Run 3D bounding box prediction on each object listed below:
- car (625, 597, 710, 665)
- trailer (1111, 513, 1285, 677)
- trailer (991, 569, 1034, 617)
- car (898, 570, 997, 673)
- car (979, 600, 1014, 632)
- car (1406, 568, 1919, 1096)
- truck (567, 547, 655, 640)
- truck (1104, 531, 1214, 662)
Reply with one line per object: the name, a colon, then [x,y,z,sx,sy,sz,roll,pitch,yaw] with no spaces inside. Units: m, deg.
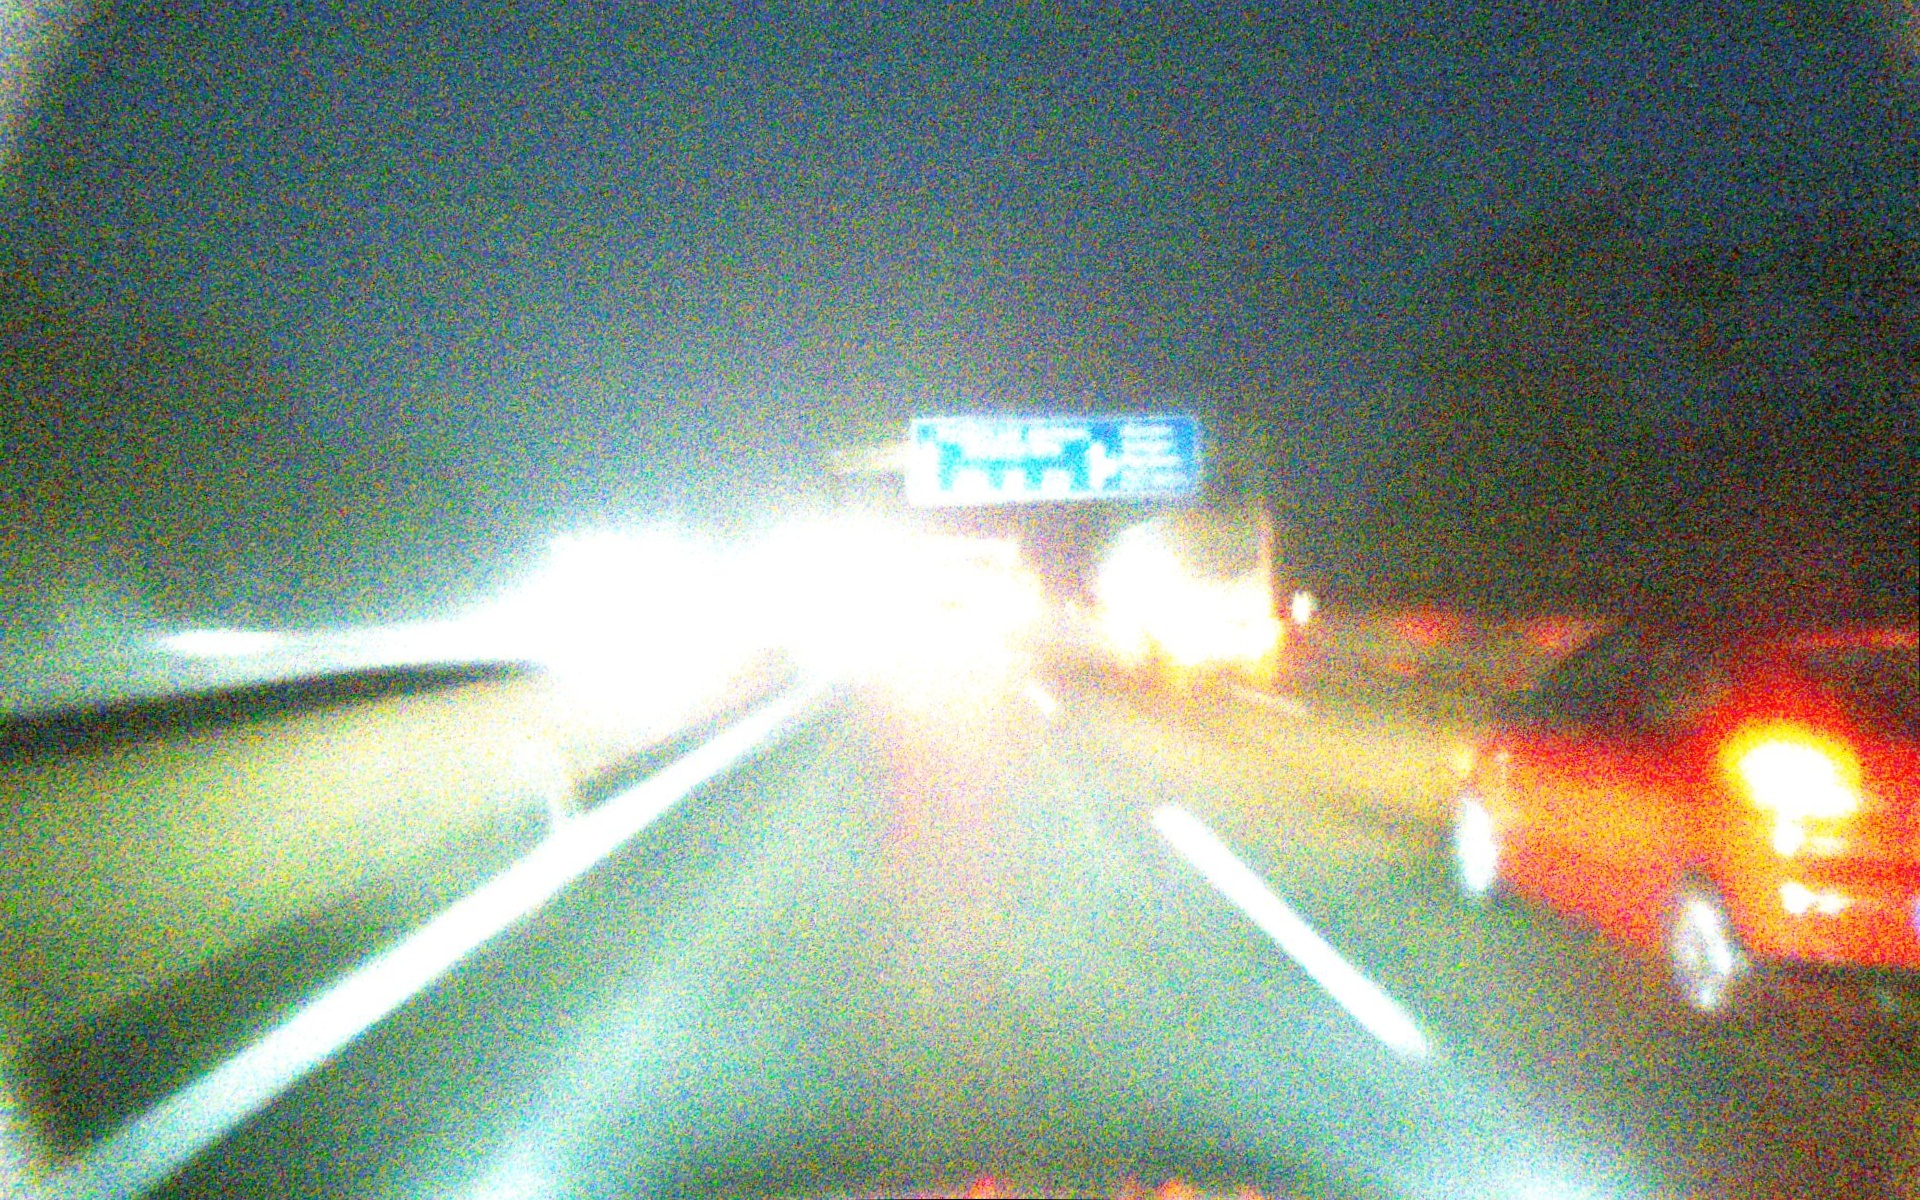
car: [-9.290,0.931,52.846,1.953,2.049,4.450,-1,0,-1]
trailer: [6.845,-0.108,50.223,2.844,4.180,14.483,-2,0,-1]
trailer: [4.933,-0.606,158.228,2.980,4.180,13.820,-2,-1,-2]
car: [-0.290,0.465,35.148,1.953,2.049,3.998,1,-1,-1]
car: [2.449,1.095,111.894,1.954,2.049,3.996,-2,-1,-4]
car: [3.479,0.727,7.311,1.705,1.603,4.492,0,-1,-1]
truck: [-17.617,-0.289,83.994,2.913,4.342,6.503,4,0,-1]
truck: [6.726,-0.103,56.699,2.844,4.180,6.029,-2,0,-1]
